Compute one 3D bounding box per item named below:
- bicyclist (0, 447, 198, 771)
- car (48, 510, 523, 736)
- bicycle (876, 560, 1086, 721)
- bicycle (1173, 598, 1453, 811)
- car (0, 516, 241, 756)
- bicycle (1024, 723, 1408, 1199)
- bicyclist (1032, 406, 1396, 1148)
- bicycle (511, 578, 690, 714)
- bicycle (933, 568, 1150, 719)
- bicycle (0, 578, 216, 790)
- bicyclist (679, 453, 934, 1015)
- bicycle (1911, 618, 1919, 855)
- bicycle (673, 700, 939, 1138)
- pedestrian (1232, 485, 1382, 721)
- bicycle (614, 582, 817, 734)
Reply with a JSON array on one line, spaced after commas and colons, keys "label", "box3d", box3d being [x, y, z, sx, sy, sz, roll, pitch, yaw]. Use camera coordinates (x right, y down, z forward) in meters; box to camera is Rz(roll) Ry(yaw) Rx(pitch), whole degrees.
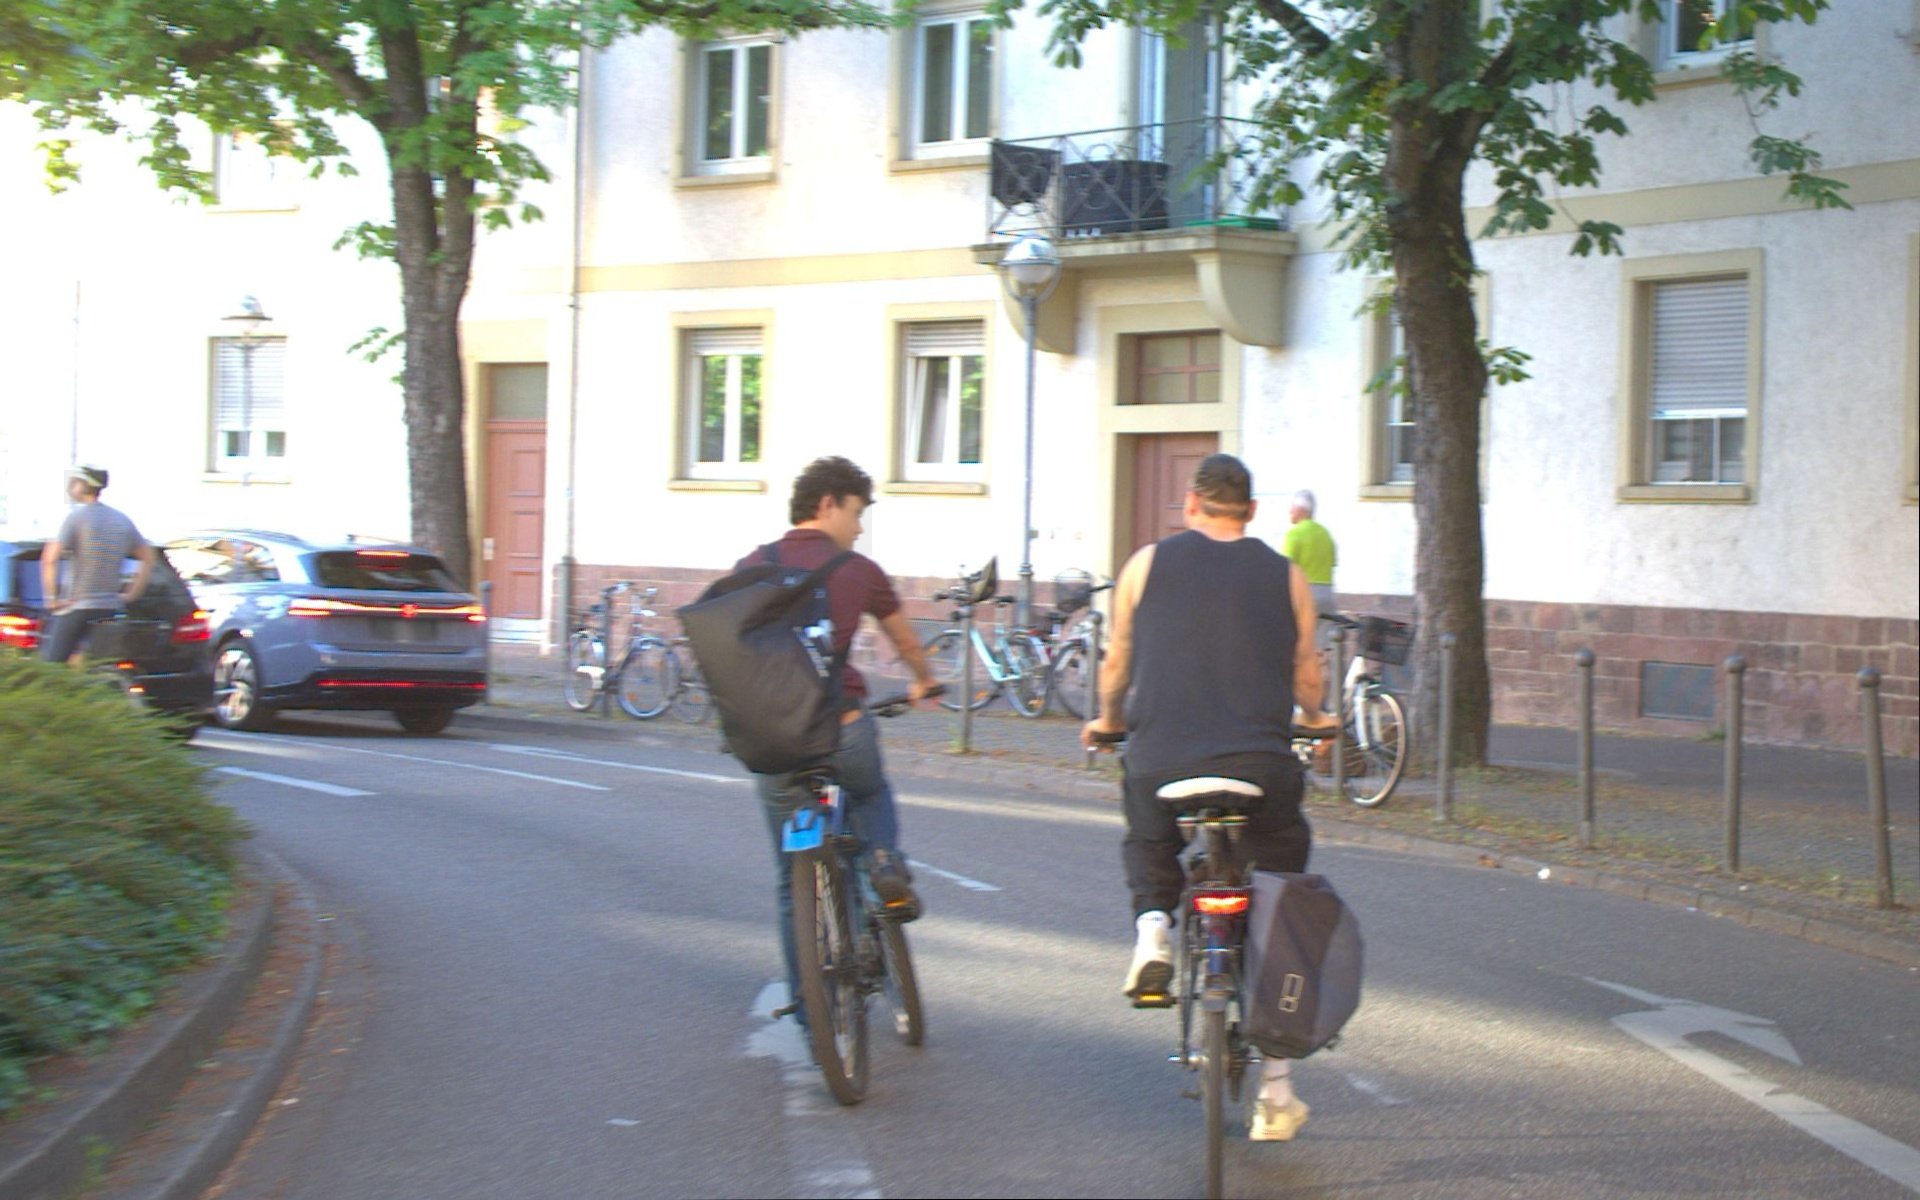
[{"label": "bicyclist", "box3d": [-5.263, 0.033, 20.735, 0.851, 1.892, 1.139, 0, 2, -39]}, {"label": "car", "box3d": [-5.362, 0.136, 27.019, 1.892, 1.572, 3.999, 1, 2, -41]}, {"label": "bicycle", "box3d": [0.146, 0.298, 27.224, 0.494, 1.168, 2.117, -4, 4, -35]}, {"label": "bicycle", "box3d": [2.058, 0.587, 20.312, 0.616, 1.109, 1.992, -3, 3, -28]}, {"label": "car", "box3d": [-6.952, 0.183, 24.414, 1.814, 1.538, 3.957, -2, 3, -43]}, {"label": "bicycle", "box3d": [0.571, 0.872, 8.441, 0.737, 1.008, 2.061, 0, 1, -1]}, {"label": "bicyclist", "box3d": [0.587, 0.395, 8.295, 0.752, 1.676, 0.913, 1, 1, -1]}, {"label": "bicycle", "box3d": [-2.922, 0.352, 27.739, 0.520, 0.995, 2.191, 1, 1, -32]}, {"label": "bicycle", "box3d": [0.632, 0.328, 27.571, 0.582, 1.110, 2.117, 0, 2, -35]}, {"label": "bicycle", "box3d": [-5.206, 0.479, 20.687, 0.597, 1.157, 2.041, 1, 1, -37]}, {"label": "bicyclist", "box3d": [-0.437, 0.354, 9.780, 0.671, 1.509, 1.069, 1, 1, -3]}, {"label": "bicycle", "box3d": [5.577, 0.673, 16.646, 0.671, 1.178, 1.821, -2, 1, -37]}, {"label": "bicycle", "box3d": [-0.446, 0.848, 9.847, 0.674, 1.050, 2.061, 0, 0, -3]}, {"label": "pedestrian", "box3d": [2.700, 0.007, 26.716, 0.995, 1.789, 0.659, -2, 3, -44]}, {"label": "bicycle", "box3d": [-1.903, 0.427, 26.506, 0.616, 1.054, 1.928, -2, 3, -37]}]
